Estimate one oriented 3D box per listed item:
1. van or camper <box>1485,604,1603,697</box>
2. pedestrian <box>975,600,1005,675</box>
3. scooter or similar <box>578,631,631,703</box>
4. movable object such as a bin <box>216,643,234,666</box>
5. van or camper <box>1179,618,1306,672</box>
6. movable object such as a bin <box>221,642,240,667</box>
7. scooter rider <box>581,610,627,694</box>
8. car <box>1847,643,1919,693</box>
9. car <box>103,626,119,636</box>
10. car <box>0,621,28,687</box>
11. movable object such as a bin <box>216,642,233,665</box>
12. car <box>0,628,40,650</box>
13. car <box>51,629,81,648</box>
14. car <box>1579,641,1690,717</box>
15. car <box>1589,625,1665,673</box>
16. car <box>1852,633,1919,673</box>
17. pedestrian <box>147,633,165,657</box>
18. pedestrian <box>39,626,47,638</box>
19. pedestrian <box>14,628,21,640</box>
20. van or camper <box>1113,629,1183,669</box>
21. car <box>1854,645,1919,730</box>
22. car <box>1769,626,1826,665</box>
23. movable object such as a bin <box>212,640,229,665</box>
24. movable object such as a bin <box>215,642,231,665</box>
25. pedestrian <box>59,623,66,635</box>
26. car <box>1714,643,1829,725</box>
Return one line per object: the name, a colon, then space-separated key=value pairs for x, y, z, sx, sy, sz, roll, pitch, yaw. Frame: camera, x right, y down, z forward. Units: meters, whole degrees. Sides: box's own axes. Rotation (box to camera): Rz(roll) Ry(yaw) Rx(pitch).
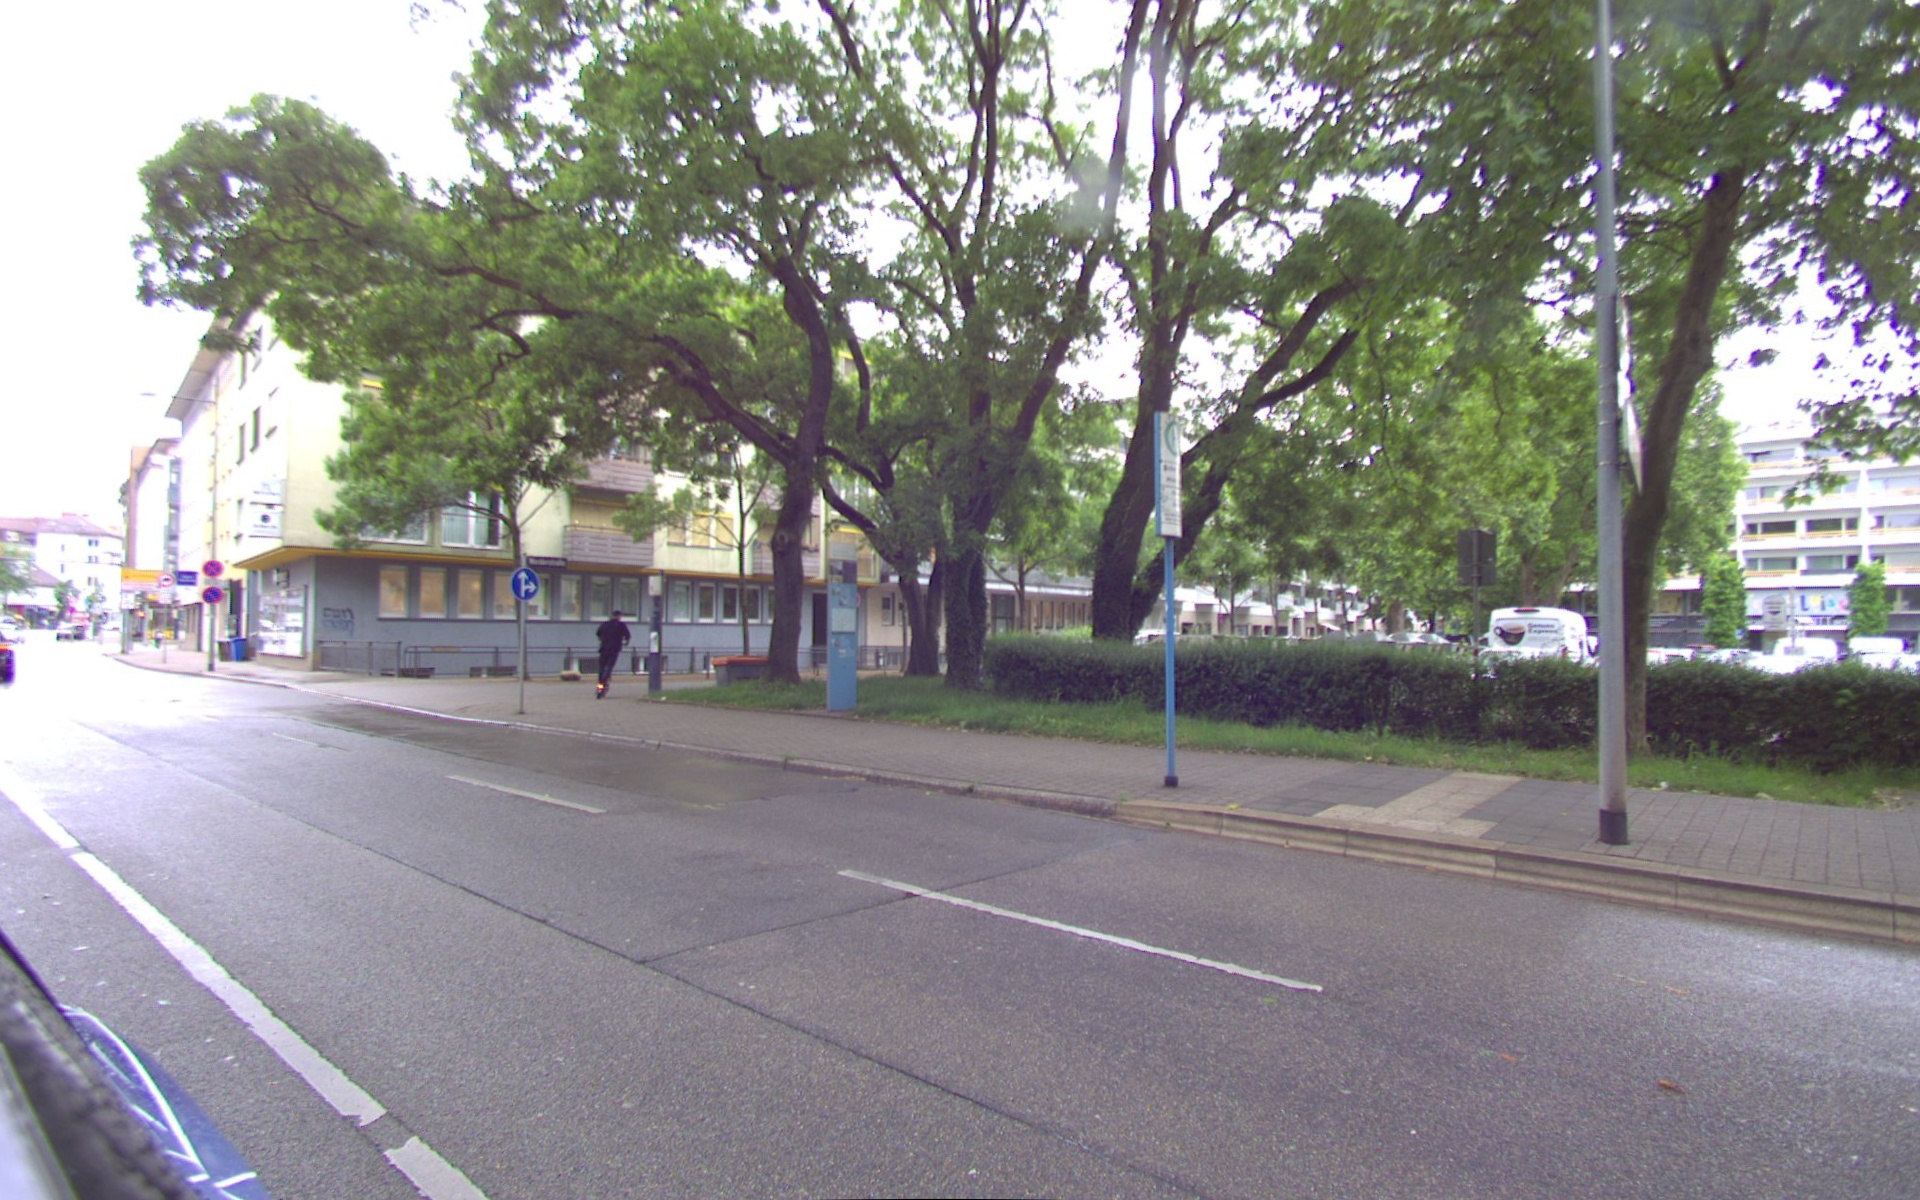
van or camper: x=16.896 y=1.426 z=29.195 sx=2.099 sy=2.450 sz=4.280 roll=-2 pitch=-3 yaw=42
pedestrian: x=0.815 y=1.024 z=27.590 sx=0.770 sy=2.029 sz=0.753 roll=0 pitch=-2 yaw=-3
scooter or similar: x=-7.602 y=1.434 z=21.700 sx=0.804 sy=1.457 sz=1.401 roll=-2 pitch=-4 yaw=-9
movable object such as a bin: x=-30.411 y=2.252 z=41.894 sx=0.522 sy=0.902 sz=0.435 roll=-3 pitch=1 yaw=-42
van or camper: x=13.944 y=2.180 z=49.408 sx=2.561 sy=2.420 sz=8.535 roll=-2 pitch=-3 yaw=41
movable object such as a bin: x=-29.976 y=2.224 z=41.583 sx=0.522 sy=0.968 sz=0.435 roll=-3 pitch=1 yaw=-42
scooter rider: x=-7.666 y=1.131 z=21.793 sx=0.724 sy=1.780 sz=0.646 roll=1 pitch=-5 yaw=-4
car: x=33.340 y=2.406 z=36.459 sx=1.895 sy=1.497 sz=3.948 roll=-1 pitch=0 yaw=39
car: x=-127.148 y=4.650 z=151.620 sx=1.567 sy=1.539 sz=3.496 roll=2 pitch=-3 yaw=-36
car: x=-25.517 y=1.355 z=26.082 sx=4.137 sy=1.638 sz=1.825 roll=-2 pitch=-4 yaw=43
movable object such as a bin: x=-30.726 y=2.233 z=42.269 sx=0.521 sy=0.935 sz=0.426 roll=-3 pitch=1 yaw=-42
car: x=-73.879 y=3.009 z=78.632 sx=1.728 sy=1.580 sz=4.706 roll=-1 pitch=-1 yaw=-17
car: x=-82.248 y=3.536 z=93.129 sx=1.807 sy=1.634 sz=4.007 roll=2 pitch=-3 yaw=-39
car: x=16.713 y=1.872 z=24.997 sx=1.895 sy=1.497 sz=3.948 roll=-1 pitch=0 yaw=39
car: x=24.038 y=1.724 z=36.438 sx=1.895 sy=1.497 sz=3.948 roll=-1 pitch=0 yaw=39
car: x=40.307 y=2.270 z=44.156 sx=1.895 sy=1.497 sz=3.948 roll=-1 pitch=0 yaw=39
pedestrian: x=-53.588 y=2.994 z=67.454 sx=0.773 sy=1.600 sz=0.675 roll=-1 pitch=-1 yaw=-29
pedestrian: x=-120.156 y=4.207 z=132.555 sx=0.643 sy=1.541 sz=0.636 roll=-1 pitch=0 yaw=35
pedestrian: x=-120.879 y=4.359 z=129.836 sx=0.634 sy=1.541 sz=0.646 roll=-1 pitch=0 yaw=-39
van or camper: x=10.375 y=2.696 z=55.602 sx=1.825 sy=2.029 sz=4.576 roll=1 pitch=-2 yaw=38
car: x=20.489 y=1.811 z=21.605 sx=1.895 sy=1.497 sz=3.948 roll=-1 pitch=0 yaw=39
car: x=41.876 y=2.232 z=50.677 sx=2.097 sy=1.735 sz=3.948 roll=-1 pitch=0 yaw=39
movable object such as a bin: x=-31.578 y=2.224 z=43.207 sx=0.510 sy=1.008 sz=0.524 roll=-3 pitch=1 yaw=-42
movable object such as a bin: x=-31.111 y=2.248 z=42.706 sx=0.458 sy=0.935 sz=0.429 roll=-3 pitch=1 yaw=-42
pedestrian: x=-117.374 y=3.773 z=132.333 sx=0.634 sy=1.541 sz=0.645 roll=-1 pitch=0 yaw=-43
car: x=18.592 y=1.842 z=23.213 sx=1.895 sy=1.497 sz=3.948 roll=-1 pitch=0 yaw=39
